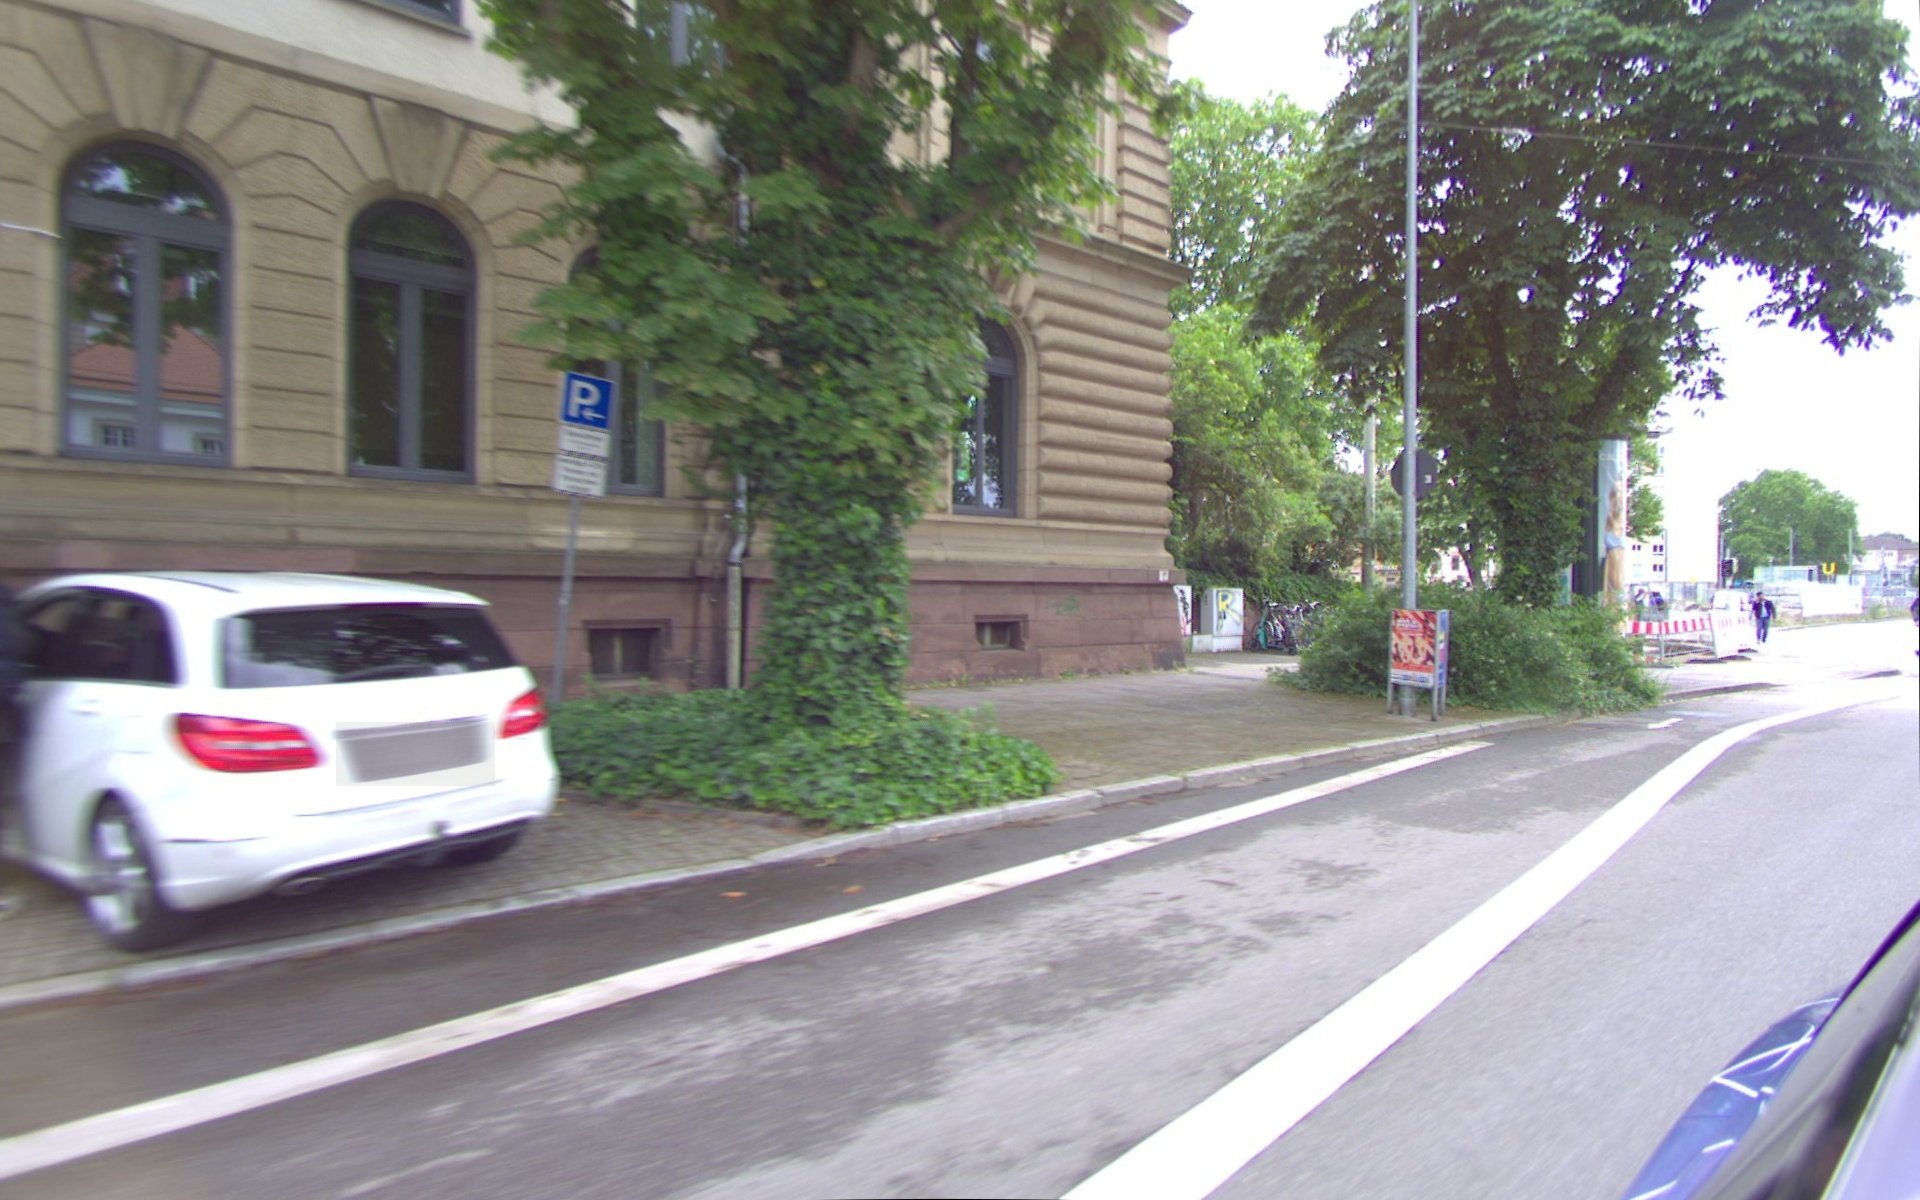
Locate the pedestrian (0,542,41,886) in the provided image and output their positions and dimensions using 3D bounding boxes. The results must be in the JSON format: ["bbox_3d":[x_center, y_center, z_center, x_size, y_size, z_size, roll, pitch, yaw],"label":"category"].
[{"bbox_3d":[-4.897,0.545,4.754,0.582,1.646,0.643,0,0,7],"label":"pedestrian"}]

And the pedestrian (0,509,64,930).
[{"bbox_3d":[-4.375,0.504,4.382,0.682,1.773,0.607,0,0,35],"label":"pedestrian"}]

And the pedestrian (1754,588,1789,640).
[{"bbox_3d":[27.707,0.463,34.554,0.912,1.730,1.142,0,0,39],"label":"pedestrian"}]

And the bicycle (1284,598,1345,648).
[{"bbox_3d":[8.314,0.516,23.760,0.467,1.140,1.342,0,0,-36],"label":"bicycle"}]

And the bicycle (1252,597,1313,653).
[{"bbox_3d":[7.398,0.552,23.262,0.417,1.175,1.385,-2,3,-34],"label":"bicycle"}]

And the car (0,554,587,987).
[{"bbox_3d":[-4.191,0.599,5.498,4.288,1.571,1.732,0,0,30],"label":"car"}]

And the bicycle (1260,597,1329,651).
[{"bbox_3d":[7.794,0.539,23.618,0.467,1.139,1.525,-1,3,-35],"label":"bicycle"}]
